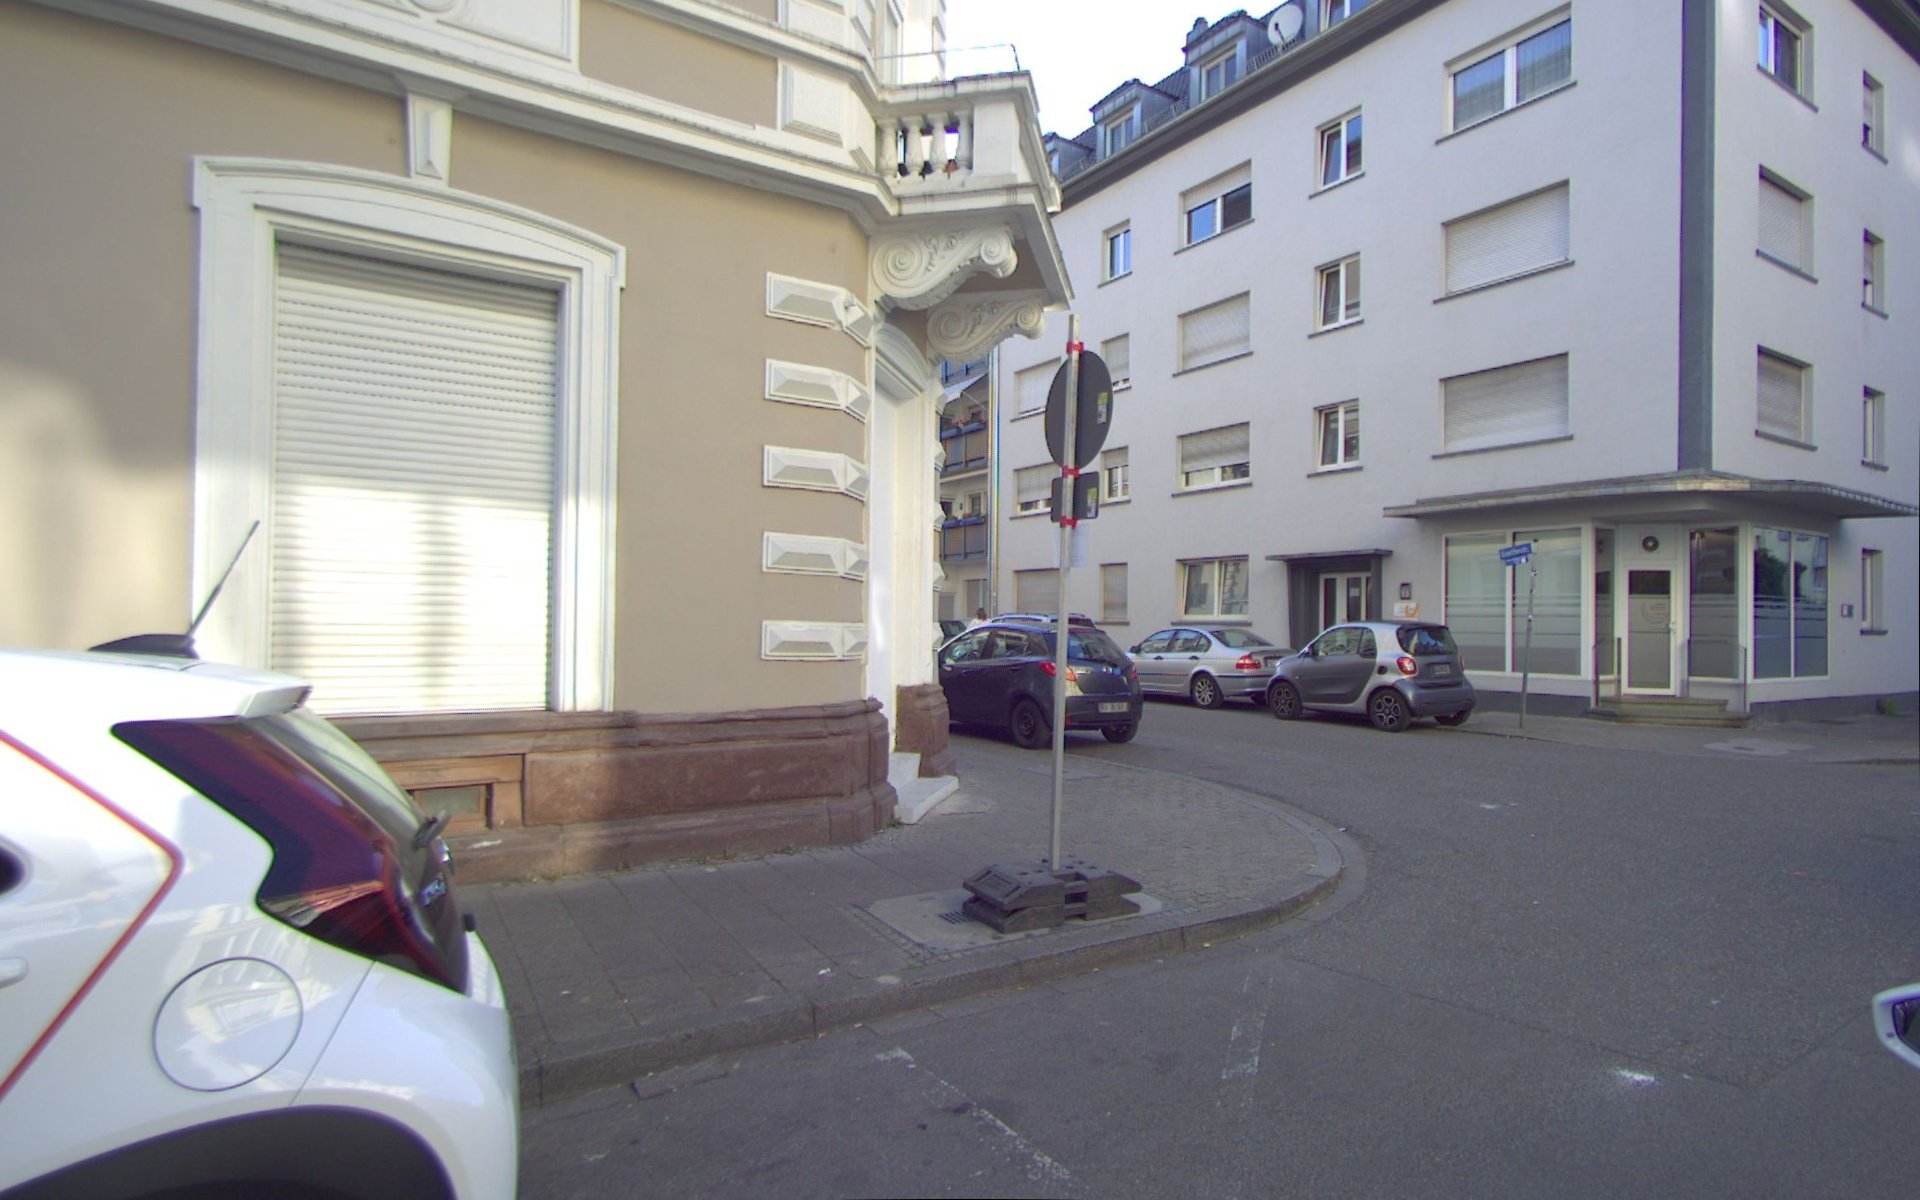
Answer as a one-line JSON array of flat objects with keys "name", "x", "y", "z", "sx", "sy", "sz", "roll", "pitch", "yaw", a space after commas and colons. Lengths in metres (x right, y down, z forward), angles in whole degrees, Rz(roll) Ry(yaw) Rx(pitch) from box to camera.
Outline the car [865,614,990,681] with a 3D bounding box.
[{"name": "car", "x": -0.924, "y": 1.199, "z": 26.648, "sx": 1.587, "sy": 1.560, "sz": 3.685, "roll": 1, "pitch": 0, "yaw": -34}]

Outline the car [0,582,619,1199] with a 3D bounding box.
[{"name": "car", "x": -2.825, "y": 0.772, "z": 1.324, "sx": 4.218, "sy": 1.527, "sz": 1.911, "roll": 1, "pitch": -3, "yaw": -31}]

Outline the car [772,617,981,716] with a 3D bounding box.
[{"name": "car", "x": -1.582, "y": 1.041, "z": 17.328, "sx": 1.884, "sy": 1.481, "sz": 4.287, "roll": 1, "pitch": -1, "yaw": -31}]

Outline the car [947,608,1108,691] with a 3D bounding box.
[{"name": "car", "x": 1.439, "y": 1.055, "z": 22.909, "sx": 1.586, "sy": 1.626, "sz": 3.993, "roll": 1, "pitch": 0, "yaw": -33}]

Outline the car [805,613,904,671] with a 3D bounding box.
[{"name": "car", "x": -3.261, "y": 1.241, "z": 30.634, "sx": 1.586, "sy": 1.560, "sz": 3.470, "roll": 1, "pitch": 0, "yaw": -33}]

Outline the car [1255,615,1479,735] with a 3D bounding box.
[{"name": "car", "x": 6.109, "y": 1.058, "z": 15.290, "sx": 1.576, "sy": 1.560, "sz": 2.772, "roll": 1, "pitch": 0, "yaw": -31}]

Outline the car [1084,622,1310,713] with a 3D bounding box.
[{"name": "car", "x": 4.279, "y": 1.163, "z": 18.763, "sx": 1.586, "sy": 1.422, "sz": 4.179, "roll": 1, "pitch": -1, "yaw": -33}]

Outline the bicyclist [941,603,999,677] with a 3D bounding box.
[{"name": "bicyclist", "x": 0.202, "y": 0.788, "z": 20.071, "sx": 0.728, "sy": 1.431, "sz": 0.931, "roll": 1, "pitch": 0, "yaw": -35}]

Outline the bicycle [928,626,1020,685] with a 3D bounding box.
[{"name": "bicycle", "x": 0.249, "y": 1.077, "z": 20.006, "sx": 0.728, "sy": 1.041, "sz": 2.094, "roll": 1, "pitch": 0, "yaw": -34}]

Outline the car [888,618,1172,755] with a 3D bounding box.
[{"name": "car", "x": 0.769, "y": 0.985, "z": 12.922, "sx": 1.713, "sy": 1.470, "sz": 3.639, "roll": 1, "pitch": -1, "yaw": -36}]
